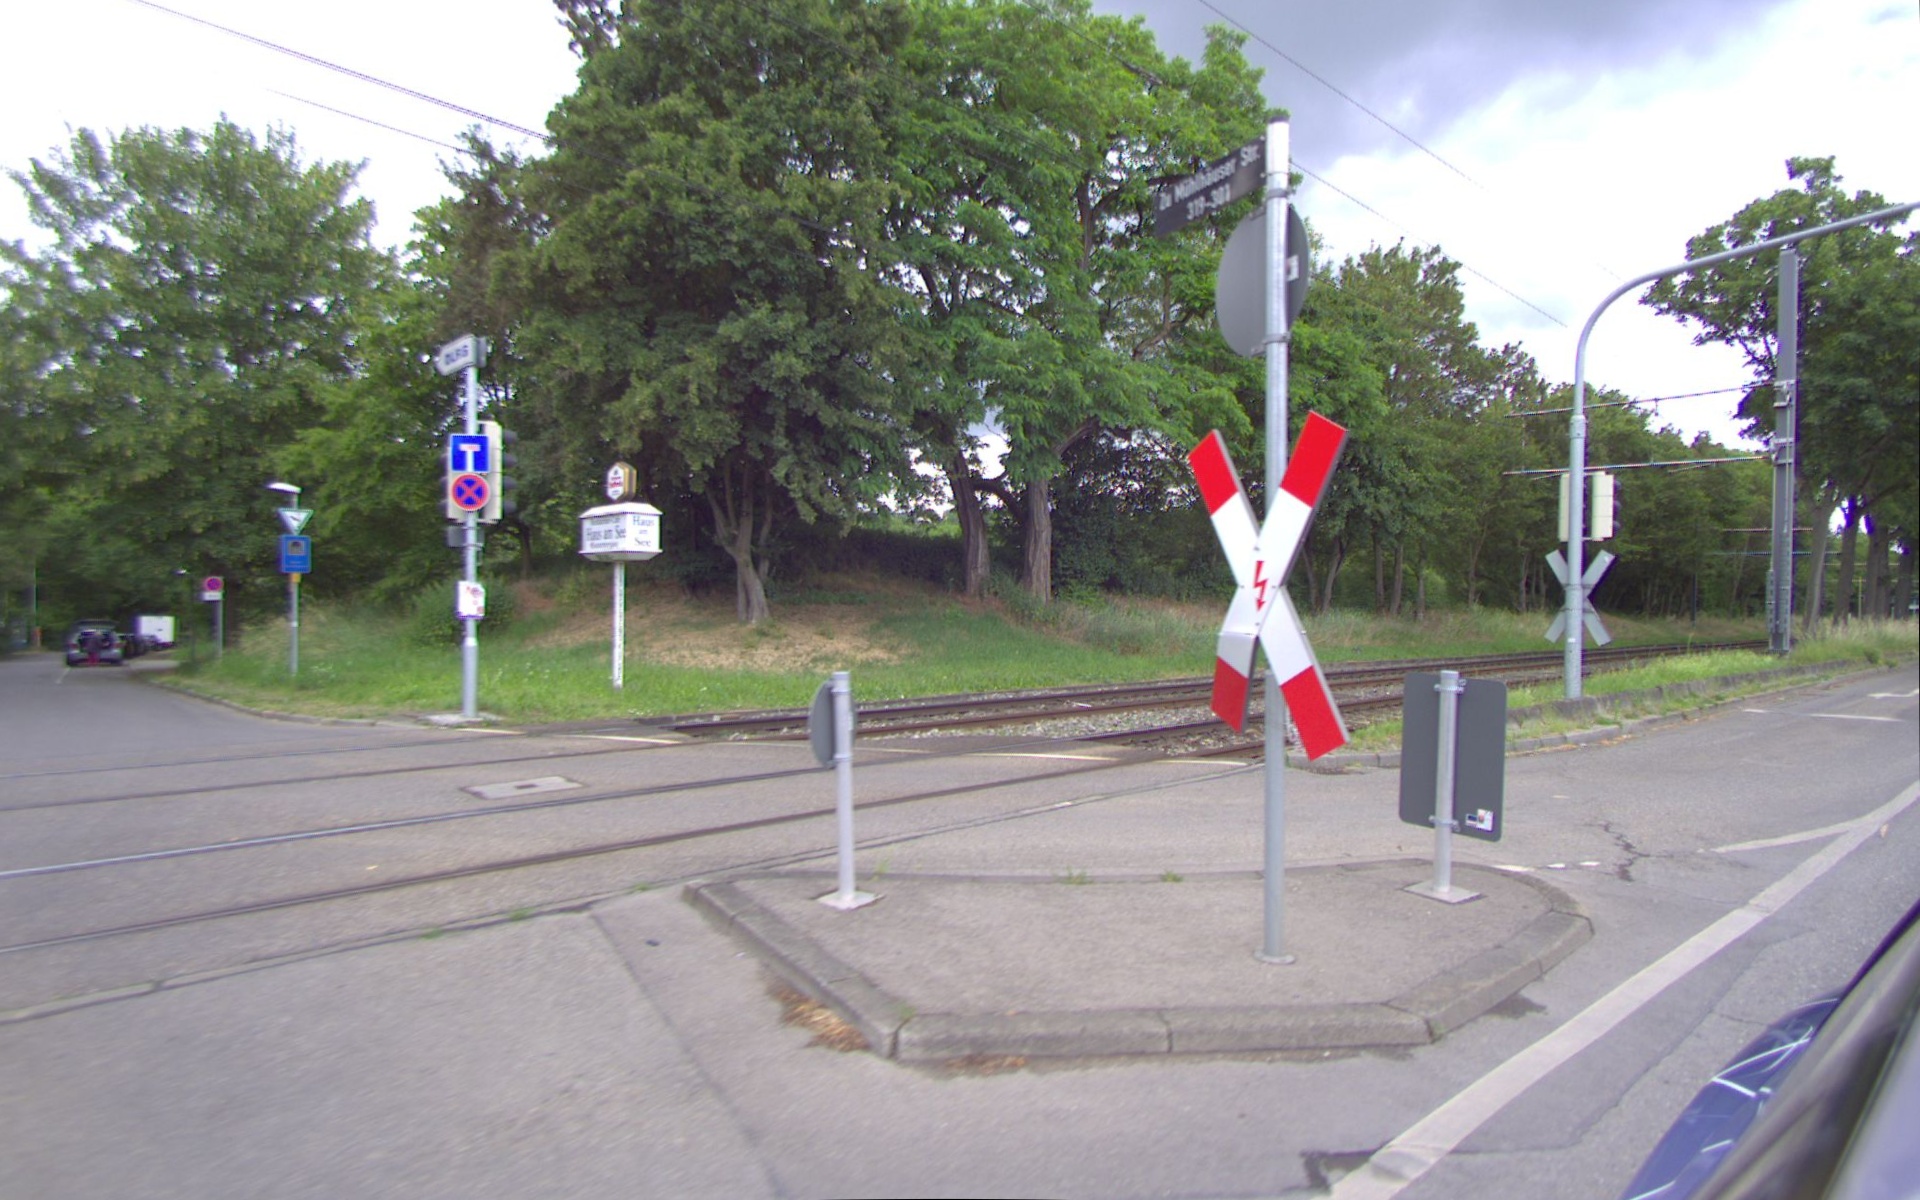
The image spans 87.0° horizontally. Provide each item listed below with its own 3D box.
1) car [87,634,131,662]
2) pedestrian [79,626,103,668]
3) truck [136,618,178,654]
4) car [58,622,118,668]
[{"bbox_3d":[-49.120,2.763,58.408,1.770,1.530,3.990,1,-2,-43],"label":"car"},{"bbox_3d":[-36.122,1.946,42.064,0.713,1.689,0.645,1,-3,-43],"label":"pedestrian"},{"bbox_3d":[-70.792,3.180,89.296,2.371,2.977,7.262,0,-2,-35],"label":"truck"},{"bbox_3d":[-37.352,1.912,43.323,1.774,1.852,3.990,1,-2,-43],"label":"car"}]
